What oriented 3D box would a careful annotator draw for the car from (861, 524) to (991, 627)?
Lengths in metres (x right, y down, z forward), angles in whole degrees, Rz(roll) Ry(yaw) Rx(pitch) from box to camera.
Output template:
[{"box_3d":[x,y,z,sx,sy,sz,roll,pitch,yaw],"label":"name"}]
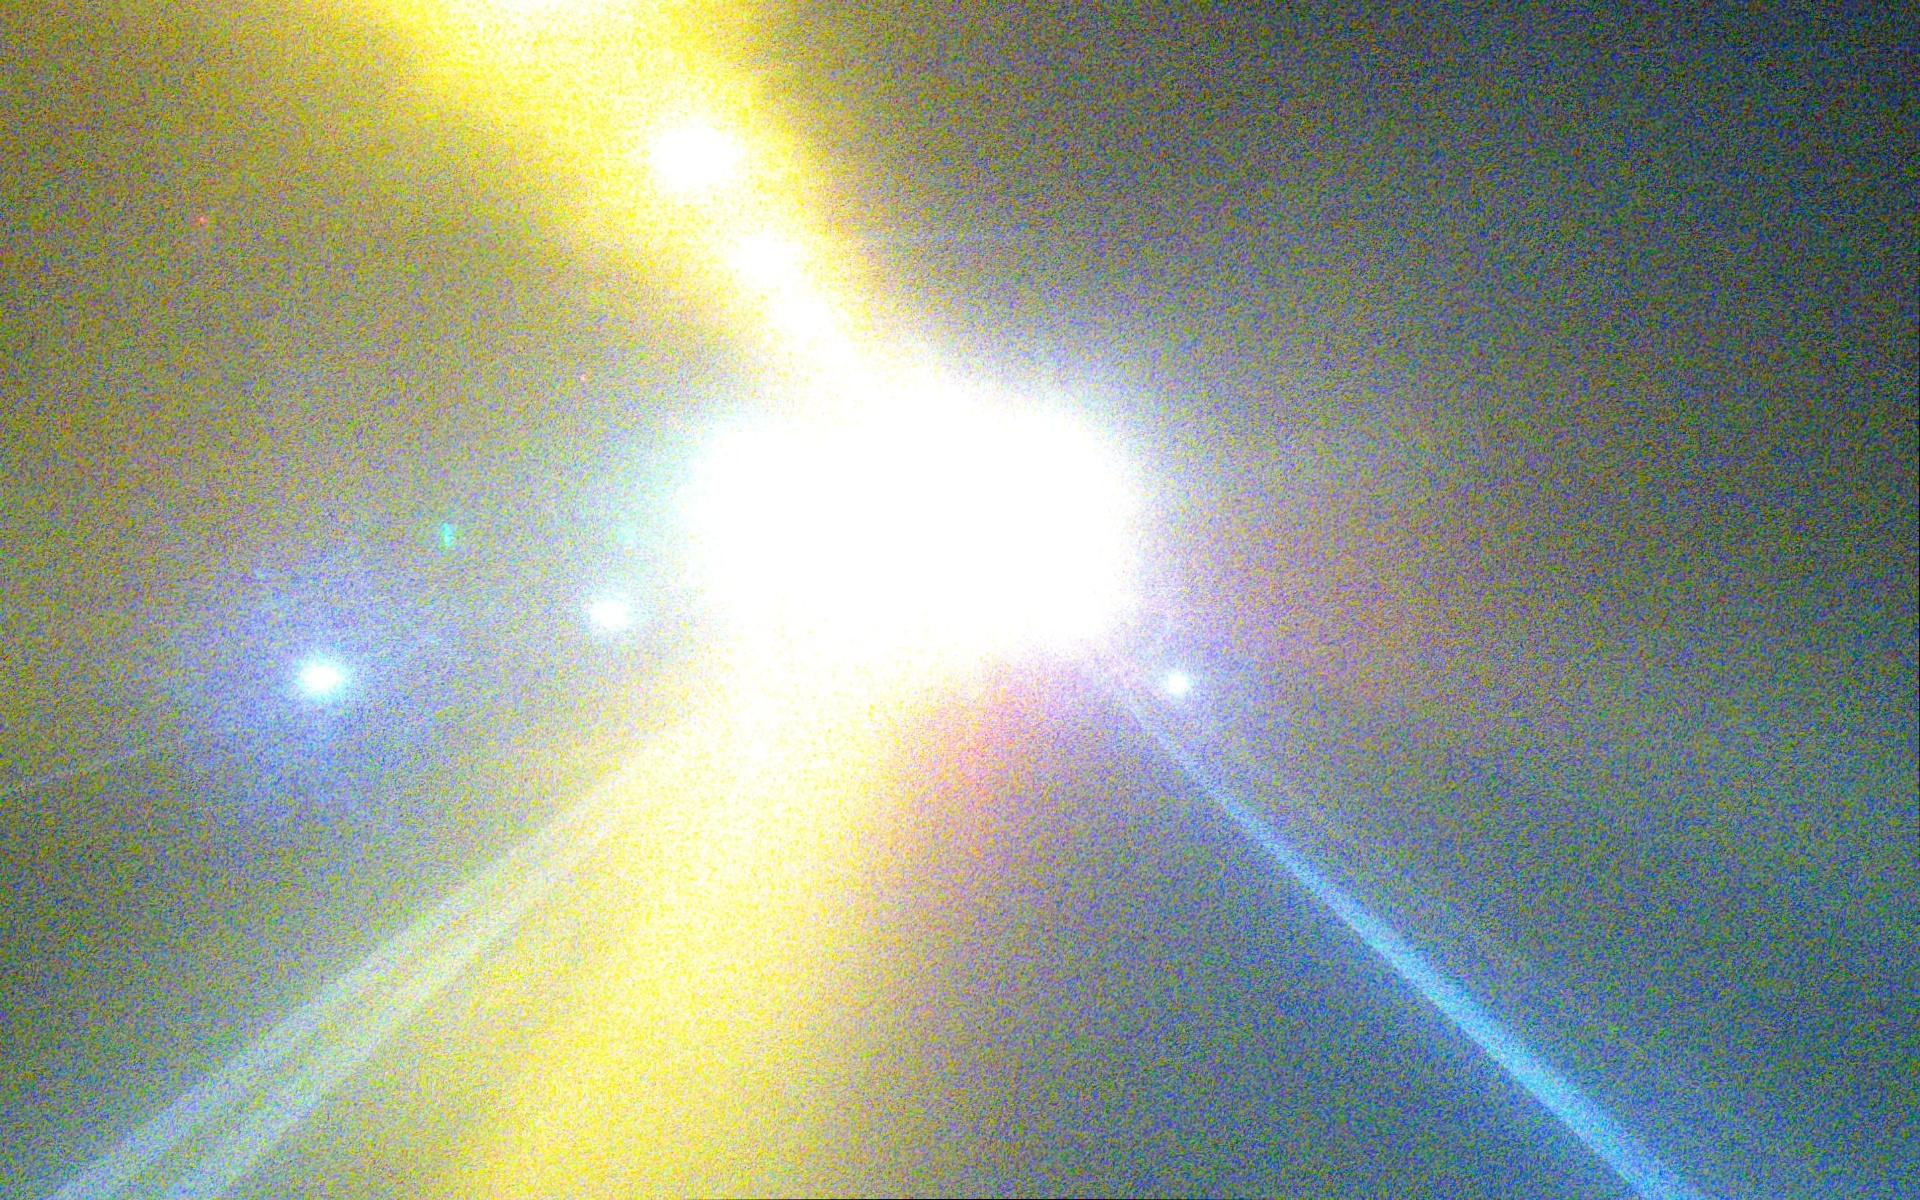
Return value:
[{"box_3d":[-0.570,-0.416,57.358,2.089,1.656,4.000,0,1,0],"label":"car"}]
